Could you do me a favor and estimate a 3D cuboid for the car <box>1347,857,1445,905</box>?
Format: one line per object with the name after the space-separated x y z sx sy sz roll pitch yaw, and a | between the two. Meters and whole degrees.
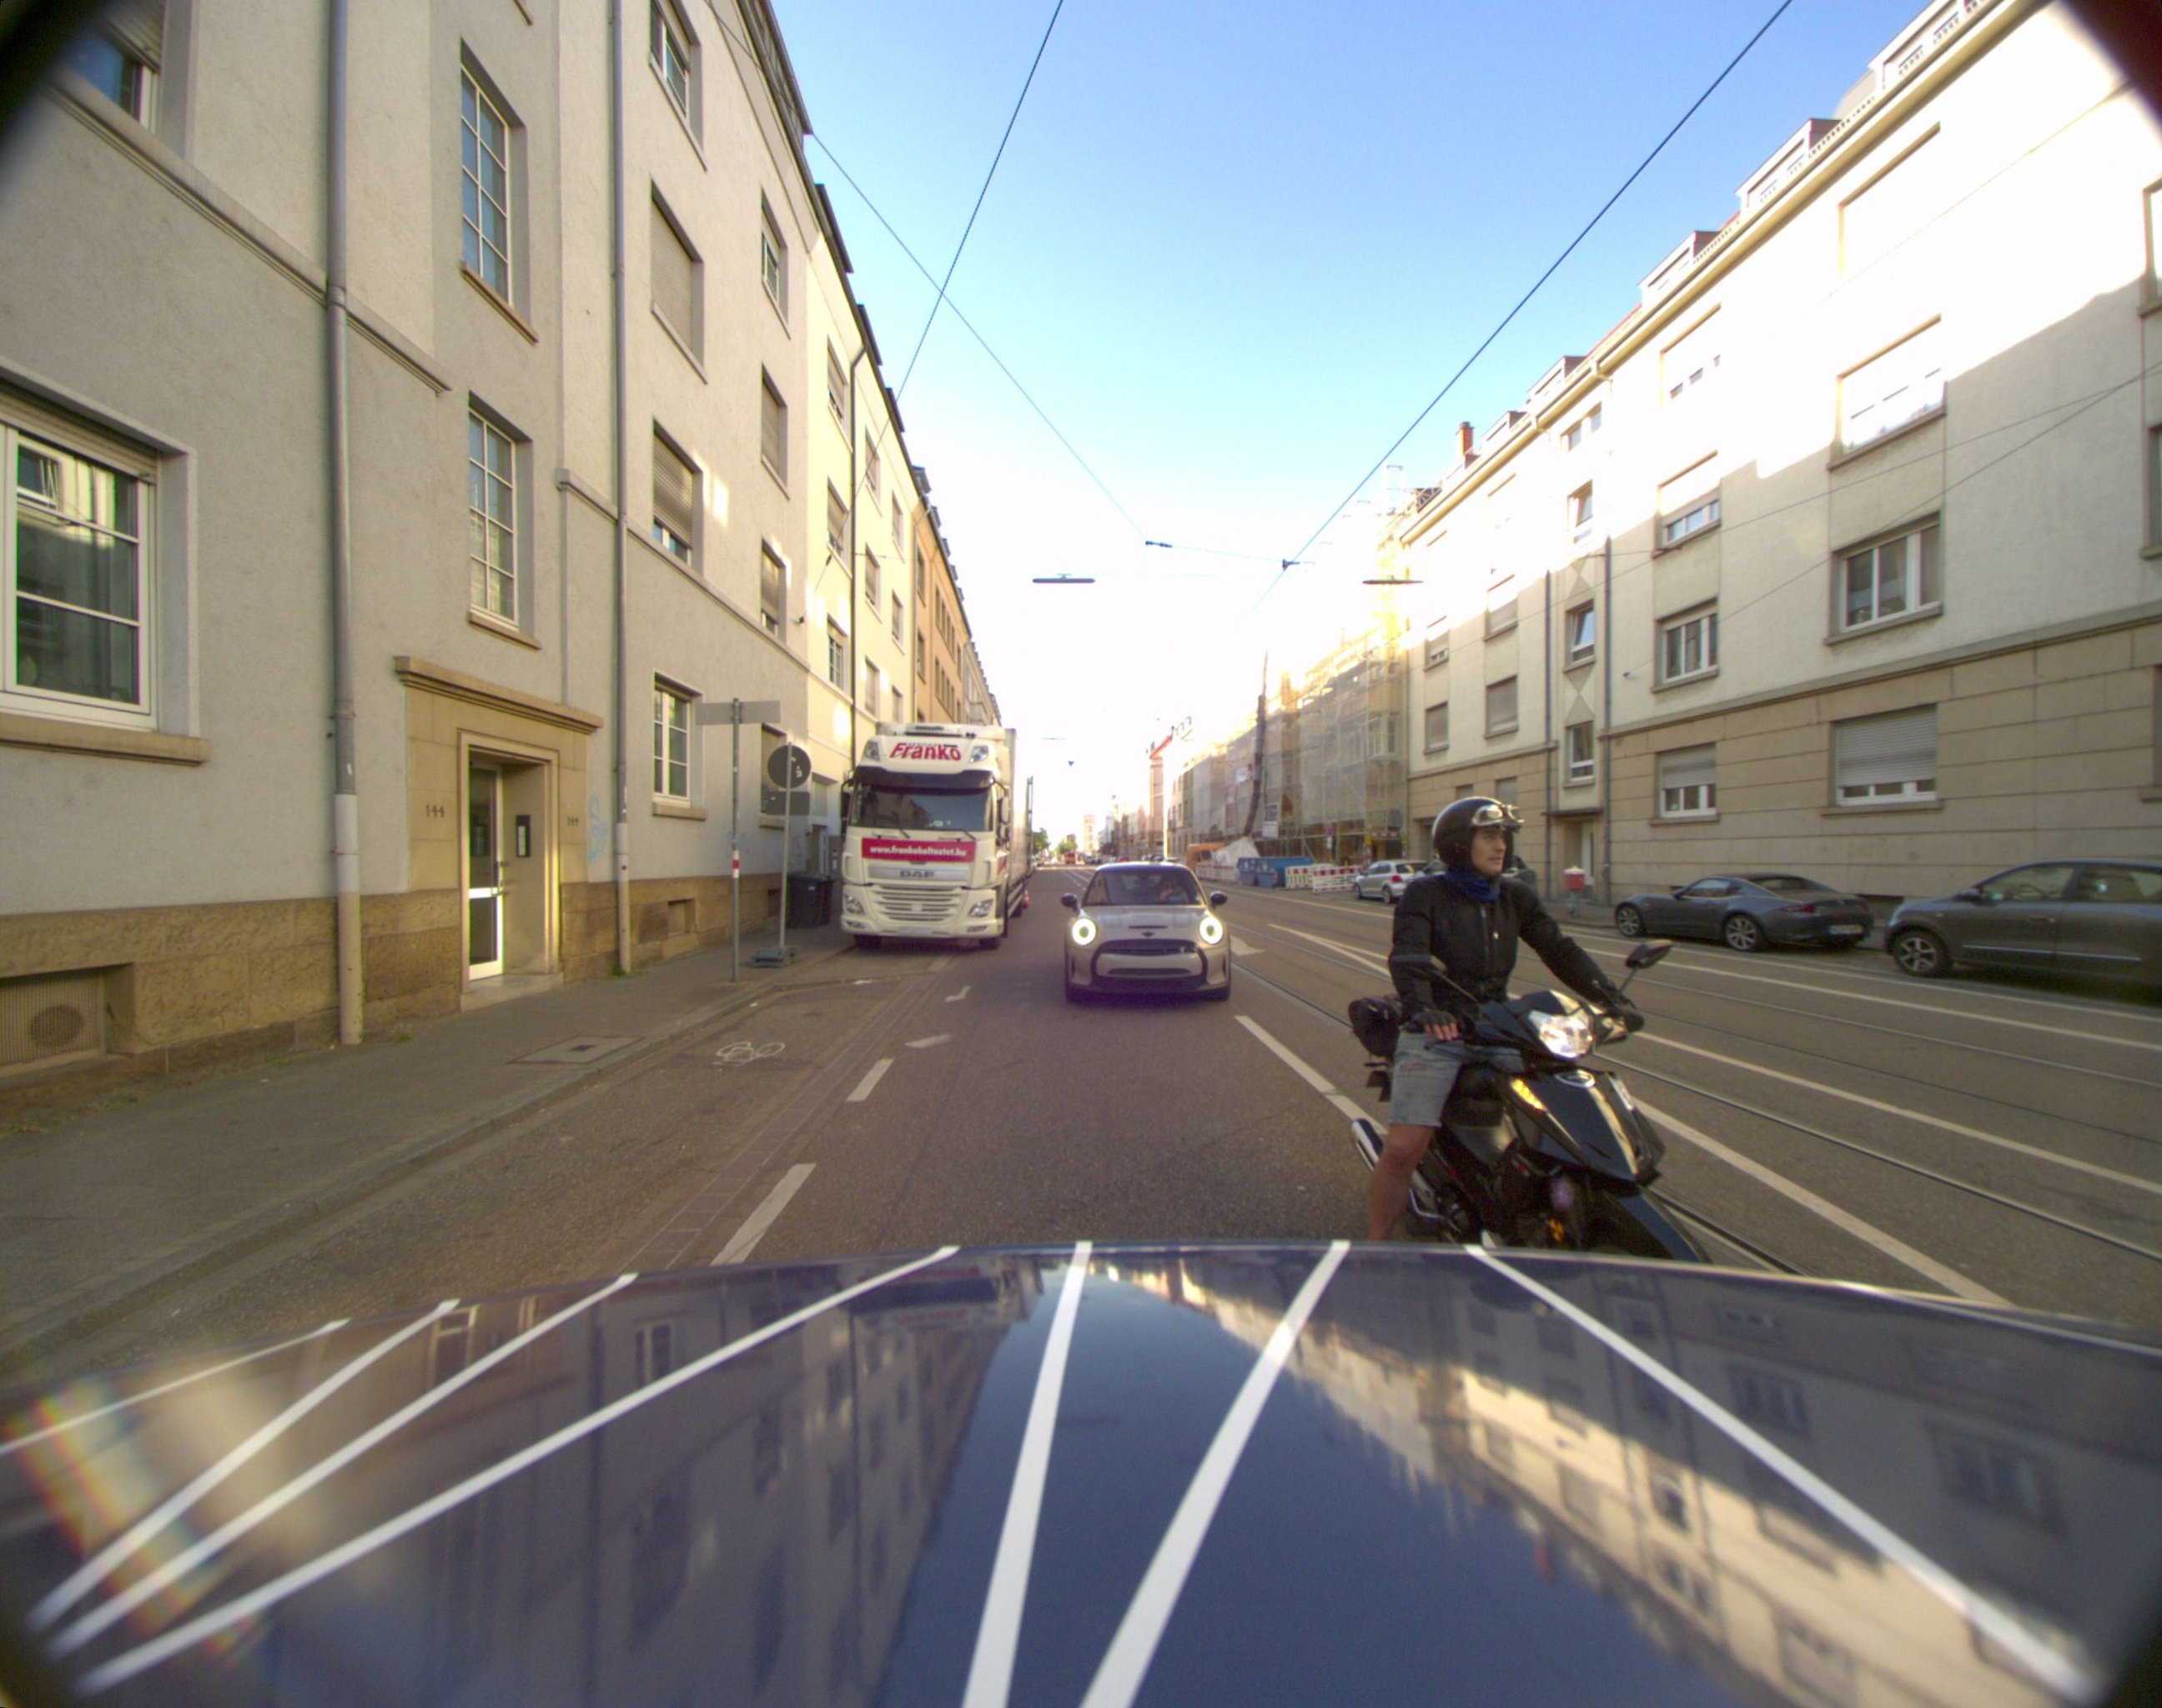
10.627 0.866 25.891 1.637 1.383 3.643 -2 1 -3 | car

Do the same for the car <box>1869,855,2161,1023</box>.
11.387 0.838 8.387 1.670 1.563 3.496 -2 1 -2 | car

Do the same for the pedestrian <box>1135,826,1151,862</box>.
7.722 -1.296 94.342 1.723 4.377 1.153 -2 1 2 | pedestrian

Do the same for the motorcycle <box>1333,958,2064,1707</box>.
1.344 1.067 2.232 0.538 1.212 1.981 -2 1 1 | motorcycle

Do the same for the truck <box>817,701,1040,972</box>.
-2.585 -0.254 17.168 2.899 3.939 11.704 -2 0 -2 | truck

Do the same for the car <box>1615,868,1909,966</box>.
11.253 0.962 12.923 1.751 1.269 3.488 -2 1 -4 | car

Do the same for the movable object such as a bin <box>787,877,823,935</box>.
-5.431 1.010 14.970 0.512 1.085 0.495 -2 1 -4 | movable object such as a bin

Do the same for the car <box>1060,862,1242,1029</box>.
0.644 0.872 9.038 1.692 1.495 4.000 0 0 0 | car

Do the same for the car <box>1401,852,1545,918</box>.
10.801 0.781 21.299 1.712 1.582 4.112 -2 1 -3 | car

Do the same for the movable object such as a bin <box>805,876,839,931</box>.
-5.329 1.007 15.644 0.512 1.085 0.495 -2 1 -4 | movable object such as a bin

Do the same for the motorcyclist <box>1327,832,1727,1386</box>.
1.319 0.701 2.374 0.862 1.496 0.598 -2 1 1 | motorcyclist
